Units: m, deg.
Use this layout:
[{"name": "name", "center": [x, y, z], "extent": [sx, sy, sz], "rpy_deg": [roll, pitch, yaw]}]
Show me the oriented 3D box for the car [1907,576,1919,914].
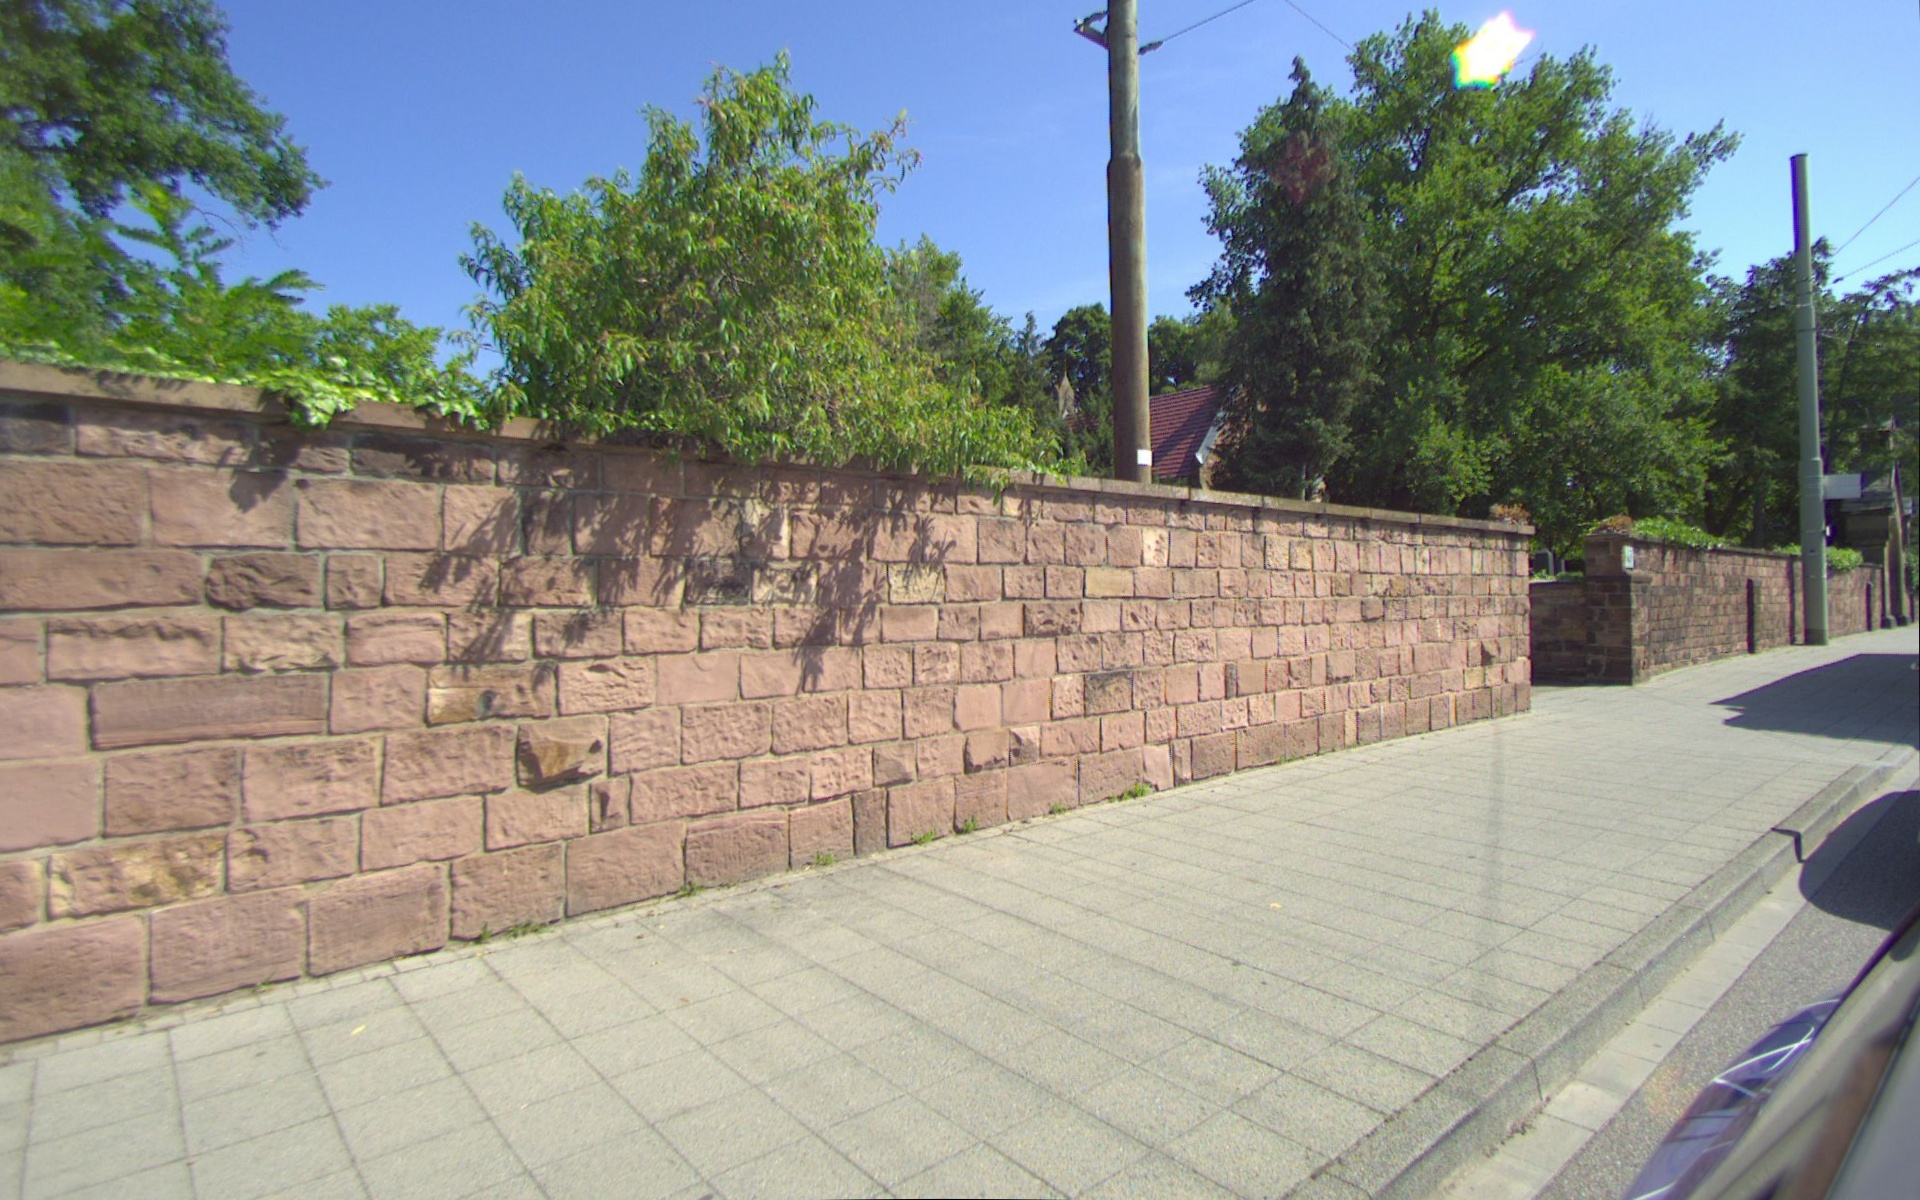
[{"name": "car", "center": [6.321, 0.585, 5.144], "extent": [4.384, 1.451, 1.741], "rpy_deg": [-1, 0, -41]}]
